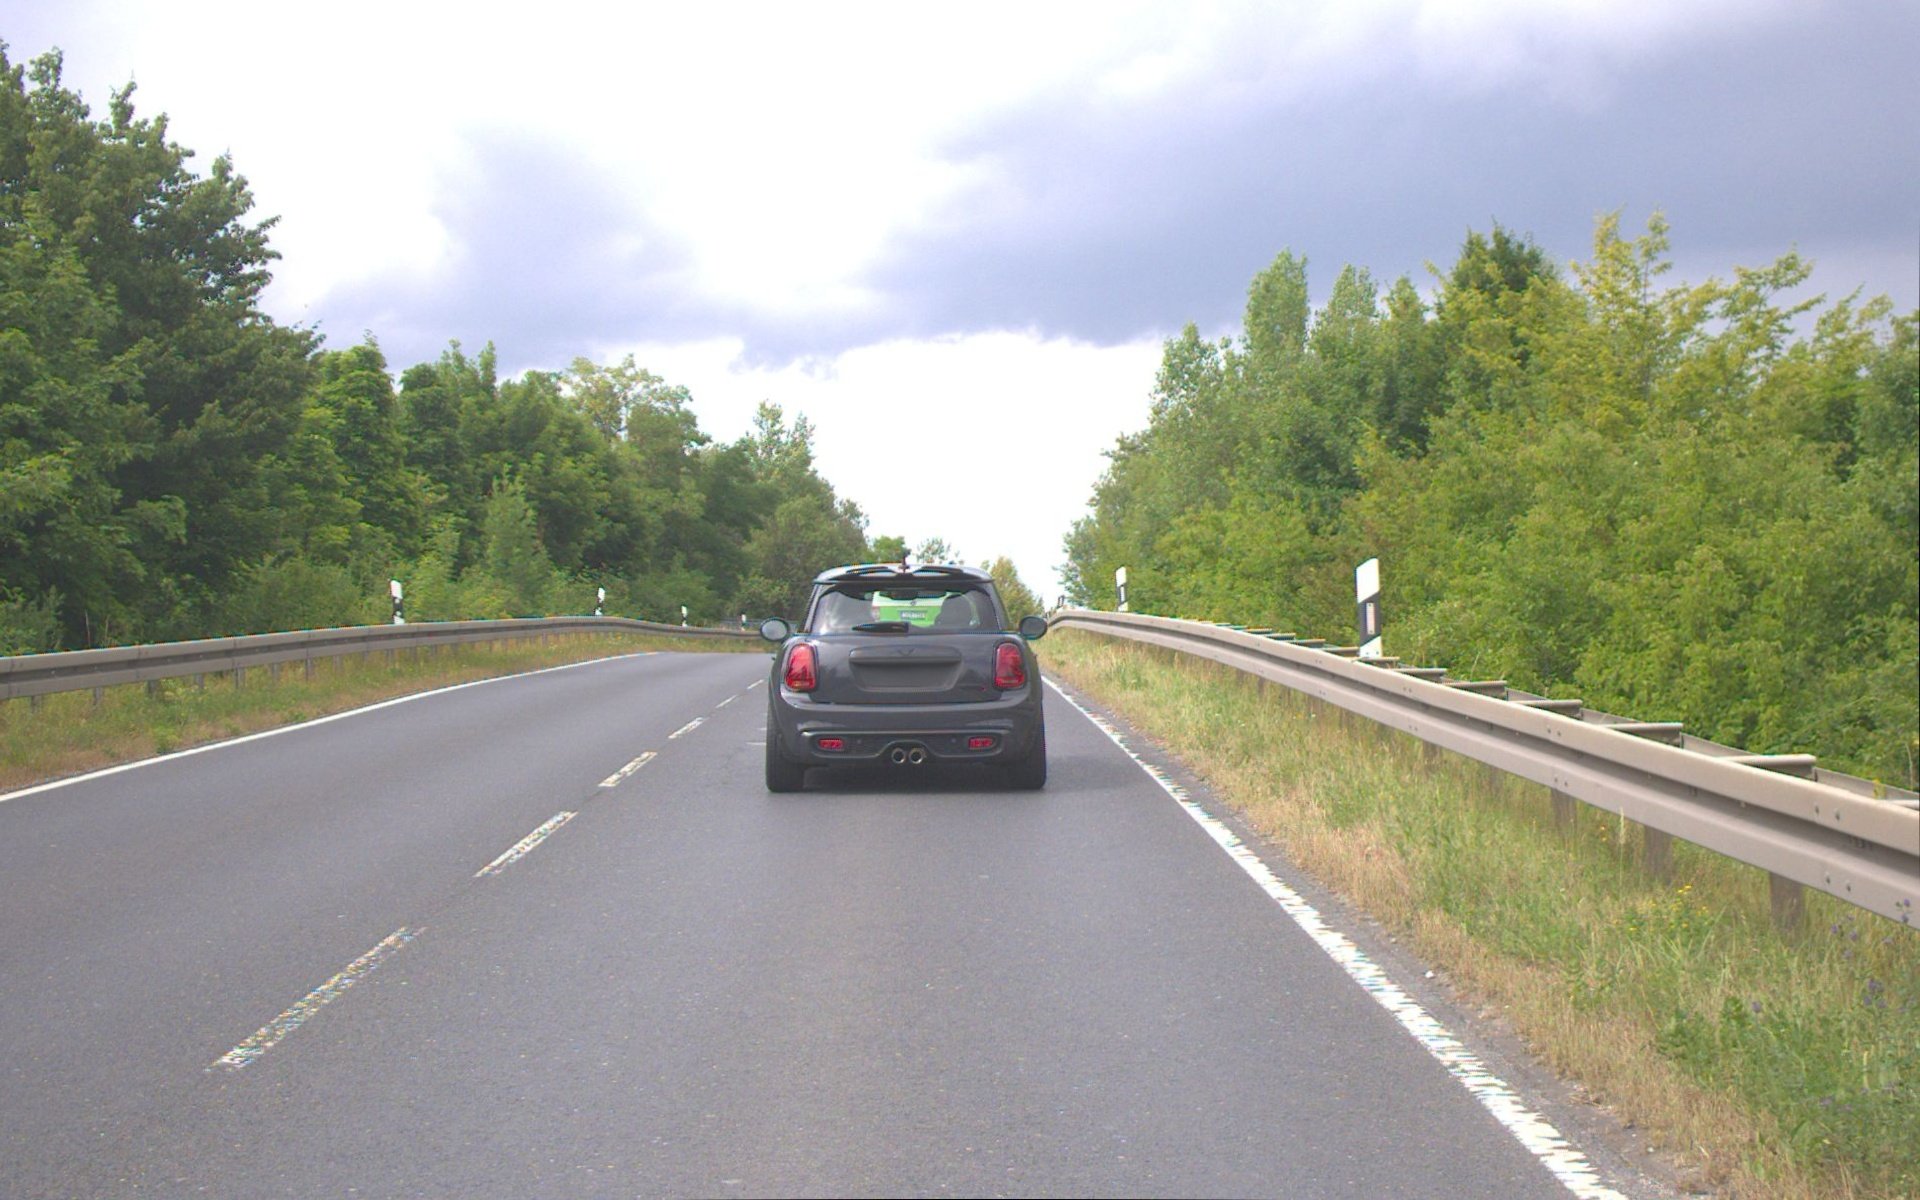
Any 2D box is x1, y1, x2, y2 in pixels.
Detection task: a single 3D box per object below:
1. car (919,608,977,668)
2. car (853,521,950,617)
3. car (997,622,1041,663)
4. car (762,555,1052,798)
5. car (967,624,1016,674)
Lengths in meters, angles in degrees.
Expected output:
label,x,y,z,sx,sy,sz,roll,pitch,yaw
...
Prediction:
label,x,y,z,sx,sy,sz,roll,pitch,yaw
car,-0.435,1.339,122.857,1.993,2.007,4.000,-2,1,-1
car,-1.274,-0.681,75.150,2.022,2.006,4.000,-1,1,-1
car,2.963,2.100,170.904,1.994,2.007,3.999,-1,0,4
car,-0.324,0.437,22.625,1.732,1.451,4.000,0,1,0
car,1.382,2.114,148.569,1.993,2.007,4.000,-2,0,1
